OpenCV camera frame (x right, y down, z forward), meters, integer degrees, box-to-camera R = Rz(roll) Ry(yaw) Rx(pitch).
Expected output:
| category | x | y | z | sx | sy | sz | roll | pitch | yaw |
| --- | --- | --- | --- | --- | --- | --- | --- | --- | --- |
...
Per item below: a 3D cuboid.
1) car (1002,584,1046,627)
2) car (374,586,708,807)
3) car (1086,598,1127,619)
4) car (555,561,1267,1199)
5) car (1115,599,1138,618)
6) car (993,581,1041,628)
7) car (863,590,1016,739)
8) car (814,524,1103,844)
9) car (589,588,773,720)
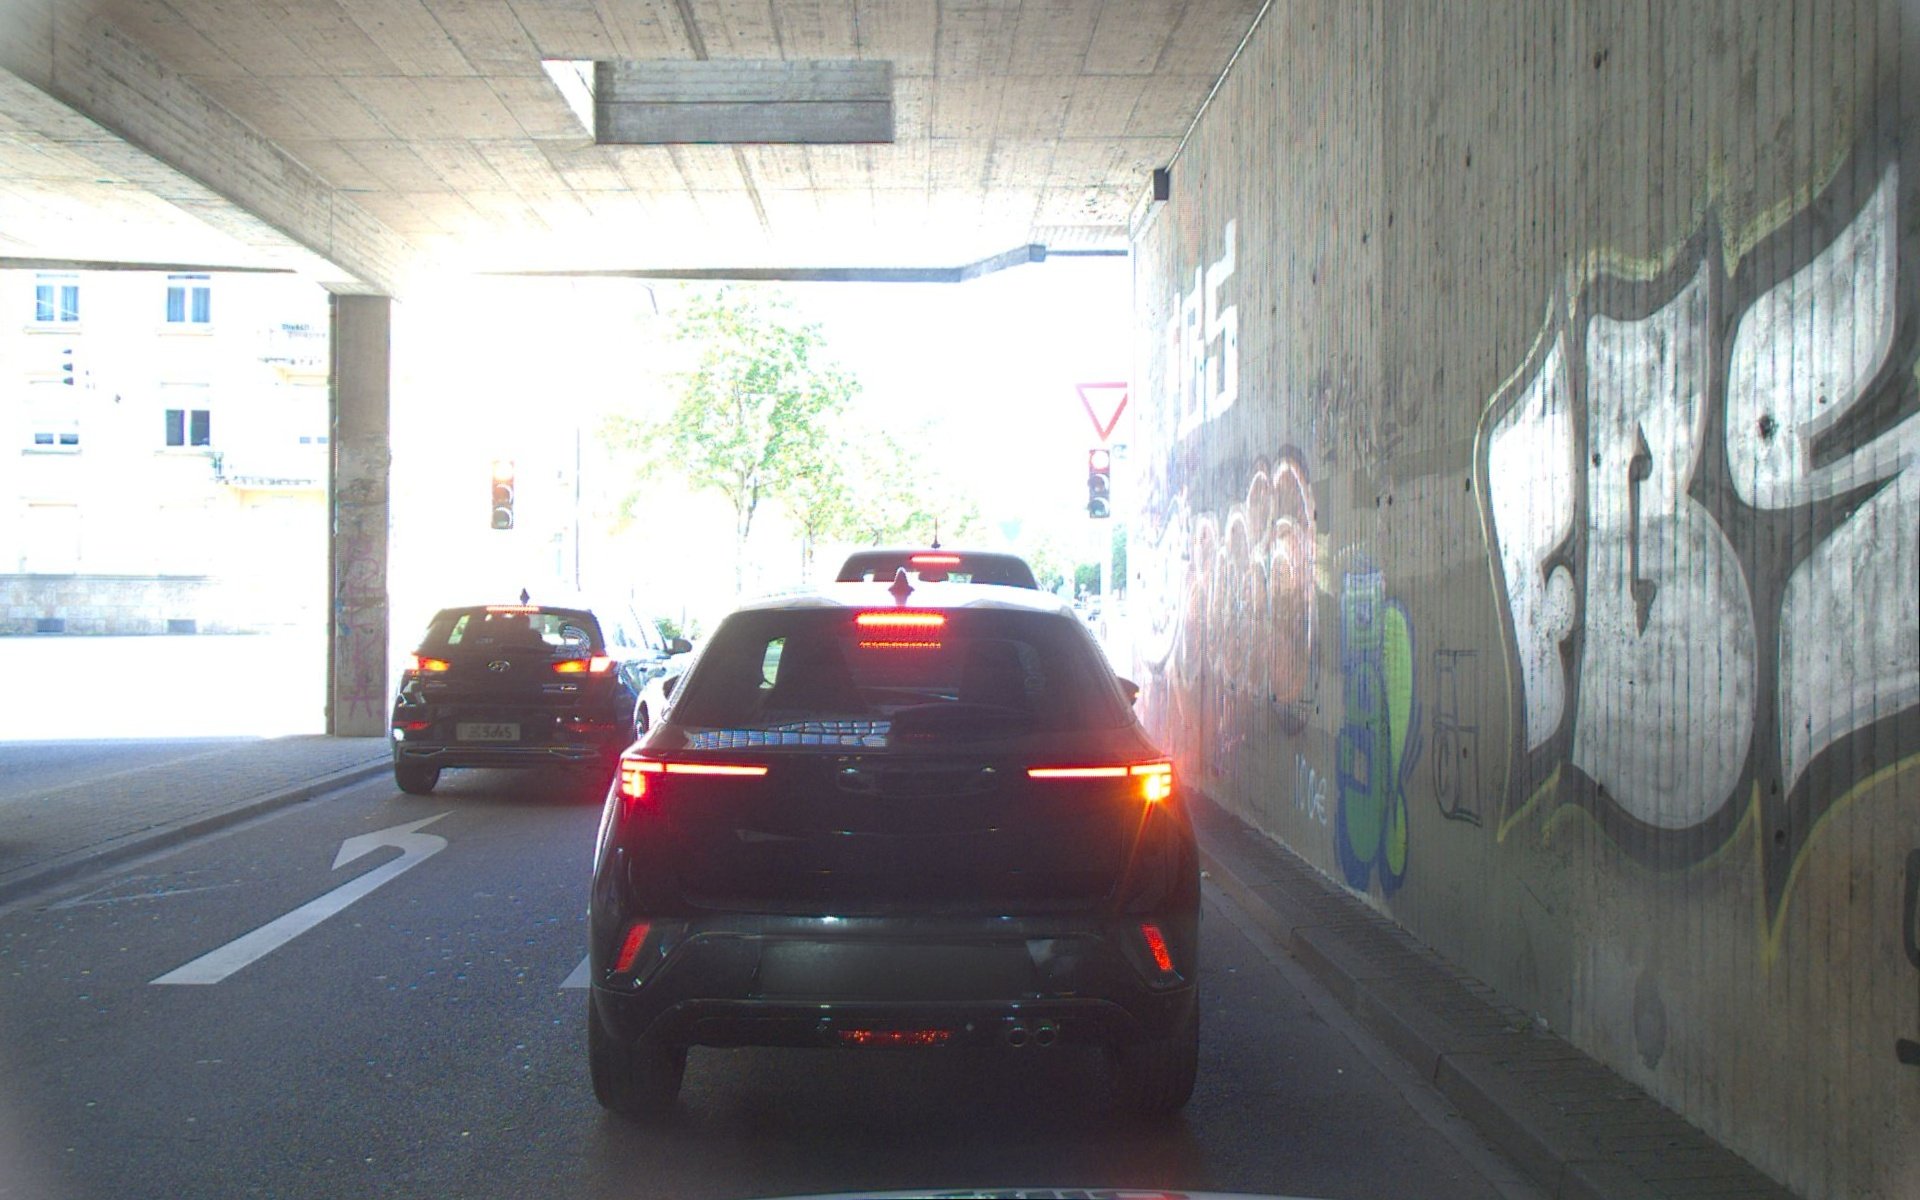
| category | x | y | z | sx | sy | sz | roll | pitch | yaw |
| --- | --- | --- | --- | --- | --- | --- | --- | --- | --- |
| car | 2.669 | 0.218 | 68.341 | 1.717 | 1.696 | 3.946 | 1 | 0 | 3 |
| car | -3.153 | 0.656 | 13.219 | 1.726 | 1.506 | 3.843 | 0 | 0 | -1 |
| car | 12.250 | 0.718 | 138.065 | 1.782 | 1.696 | 4.810 | 1 | 0 | 26 |
| car | -0.143 | 0.685 | 6.076 | 1.726 | 1.558 | 4.088 | 0 | 0 | -1 |
| car | 14.858 | 0.773 | 147.853 | 1.716 | 1.696 | 3.948 | 1 | 0 | 10 |
| car | 2.179 | 0.183 | 62.215 | 1.717 | 1.696 | 3.946 | 1 | 0 | 3 |
| car | -0.242 | 0.669 | 19.235 | 1.576 | 1.539 | 4.053 | 0 | 0 | -1 |
| car | -0.036 | 0.503 | 12.021 | 1.726 | 1.915 | 4.145 | 0 | 0 | -1 |
| car | -3.423 | 0.616 | 20.940 | 1.726 | 1.506 | 3.843 | 0 | 0 | -1 |
